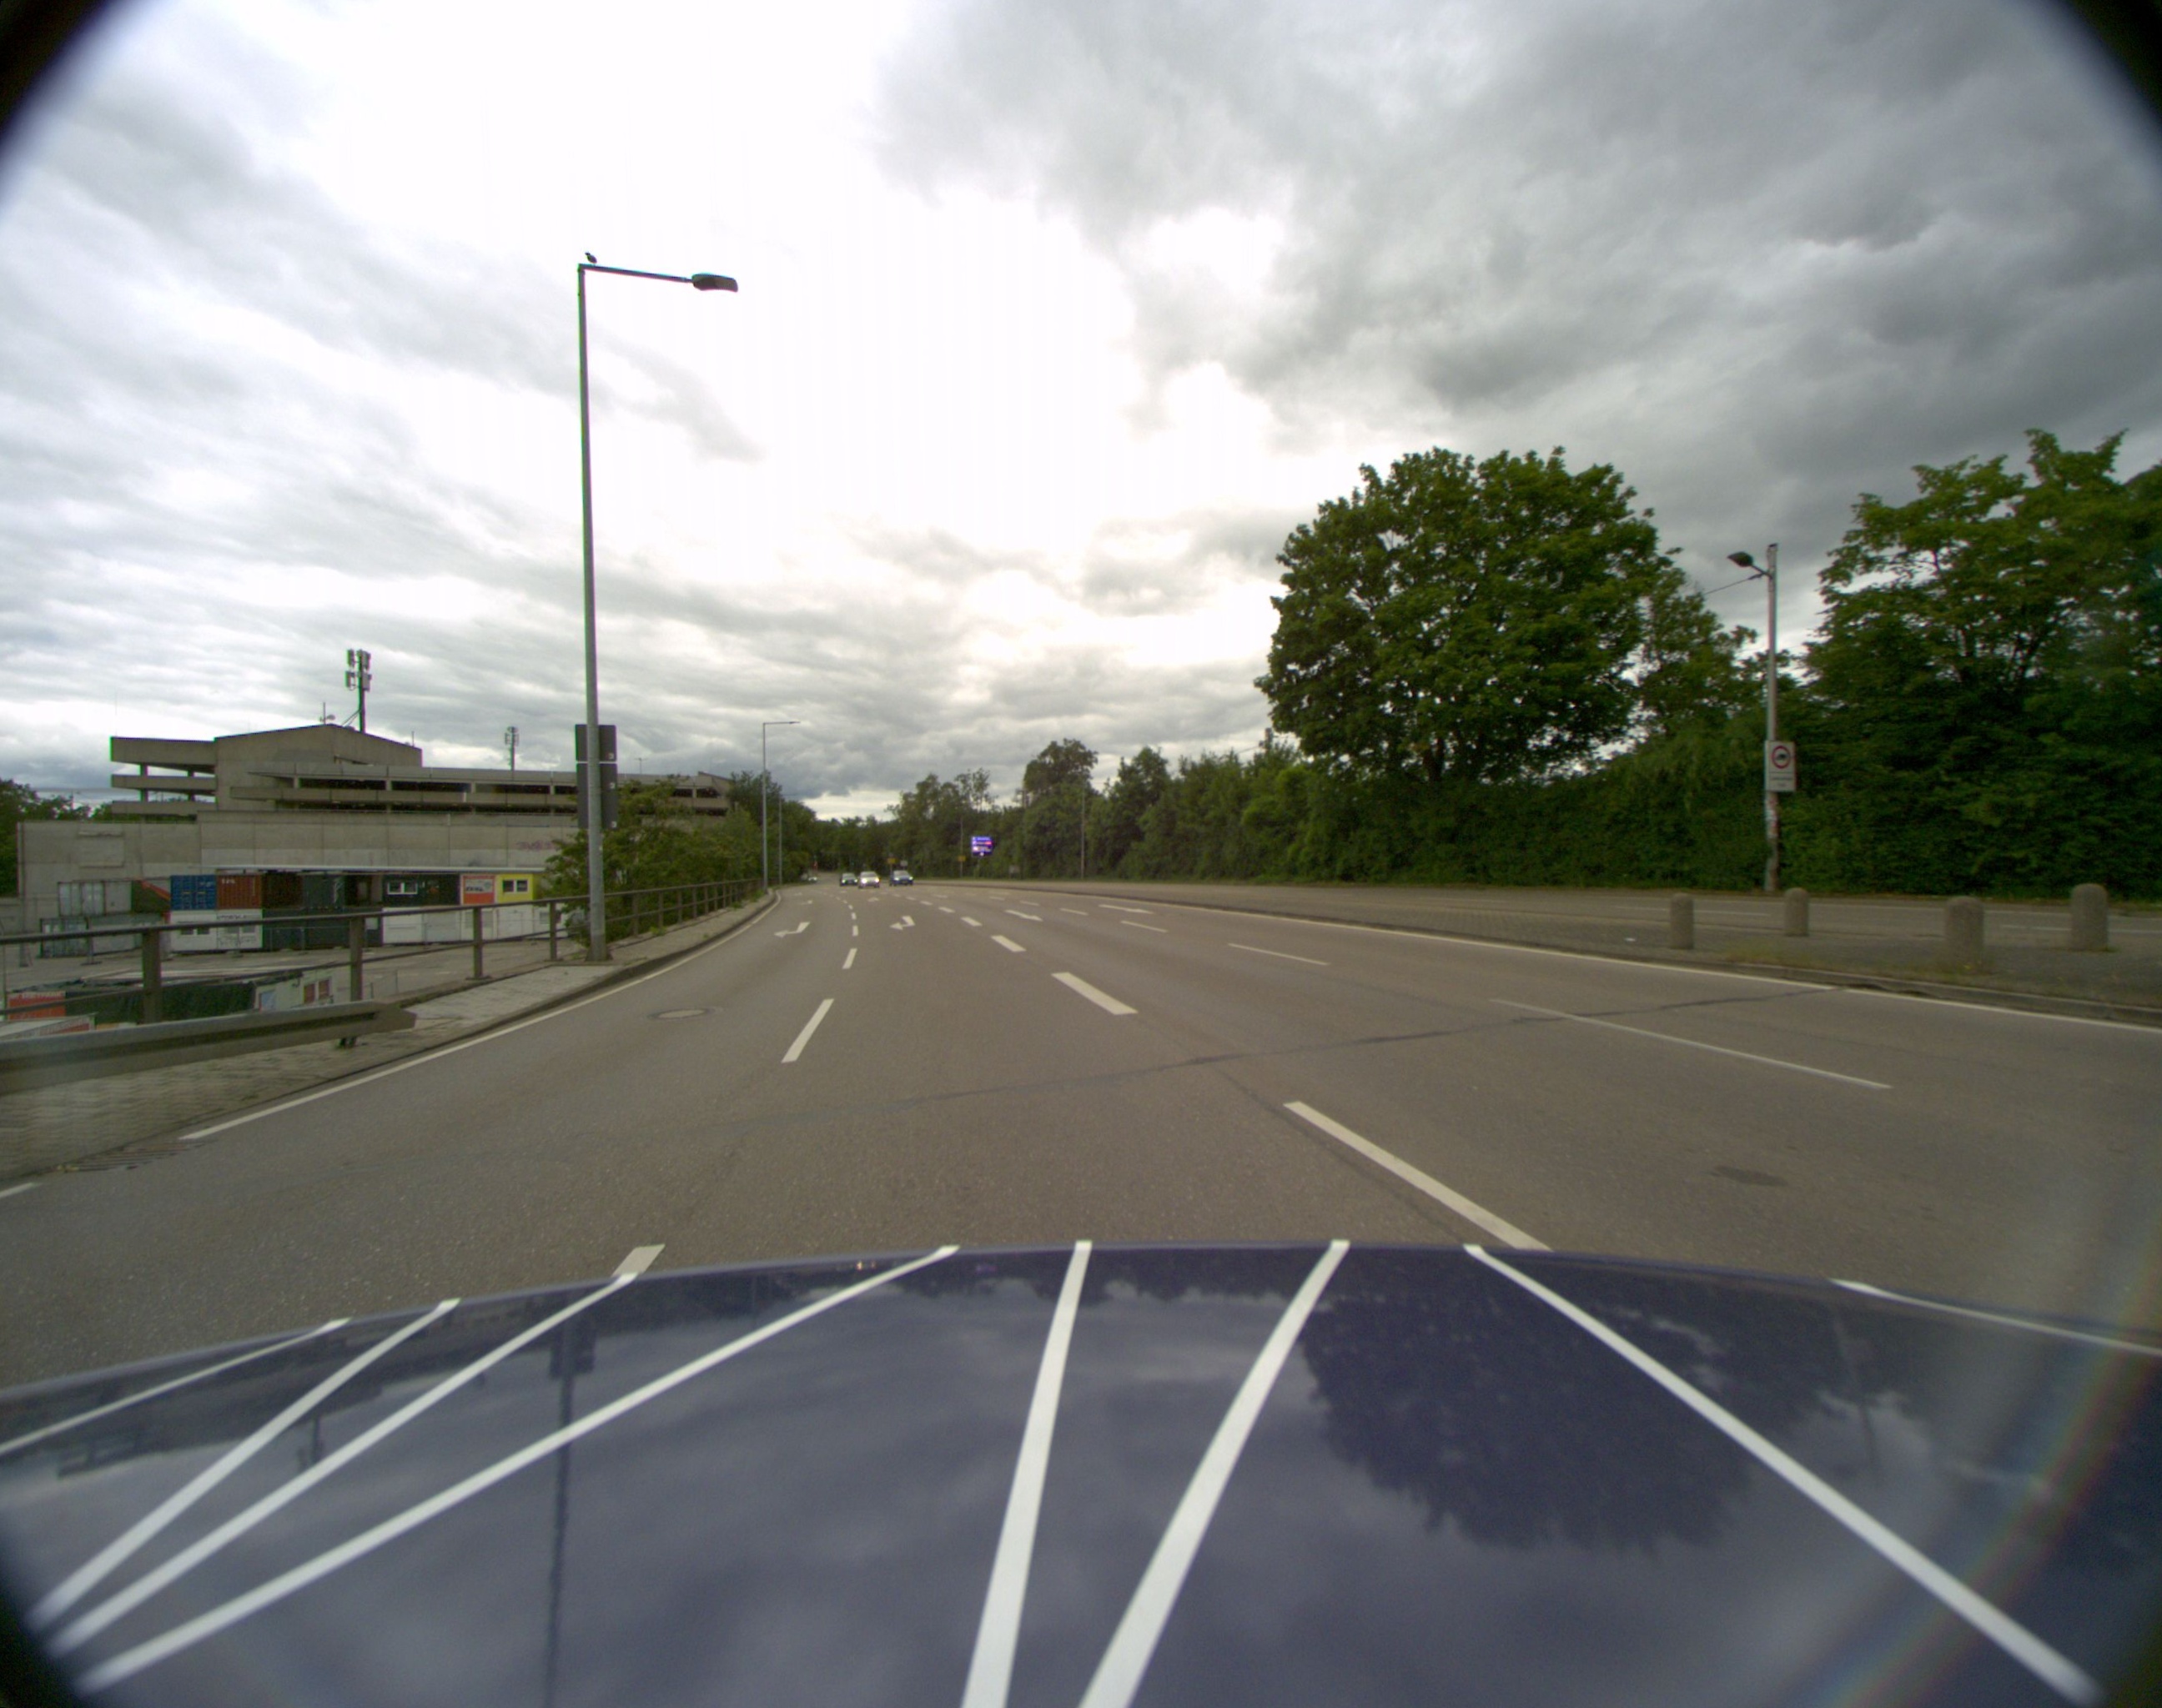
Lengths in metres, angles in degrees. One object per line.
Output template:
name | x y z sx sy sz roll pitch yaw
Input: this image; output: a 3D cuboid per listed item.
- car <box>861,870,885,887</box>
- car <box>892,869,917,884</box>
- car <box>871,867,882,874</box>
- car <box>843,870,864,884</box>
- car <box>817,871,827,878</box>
car | -18.627 2.167 67.866 1.612 1.408 3.585 -2 0 -22
car | -17.040 2.138 73.189 1.845 1.408 4.573 -2 0 -19
car | -41.771 3.338 155.166 1.706 1.455 3.993 -3 0 -22
car | -25.826 2.580 86.271 1.868 1.408 4.331 -2 0 -21
car | -59.438 4.648 174.534 1.868 1.408 4.331 -2 0 -23
